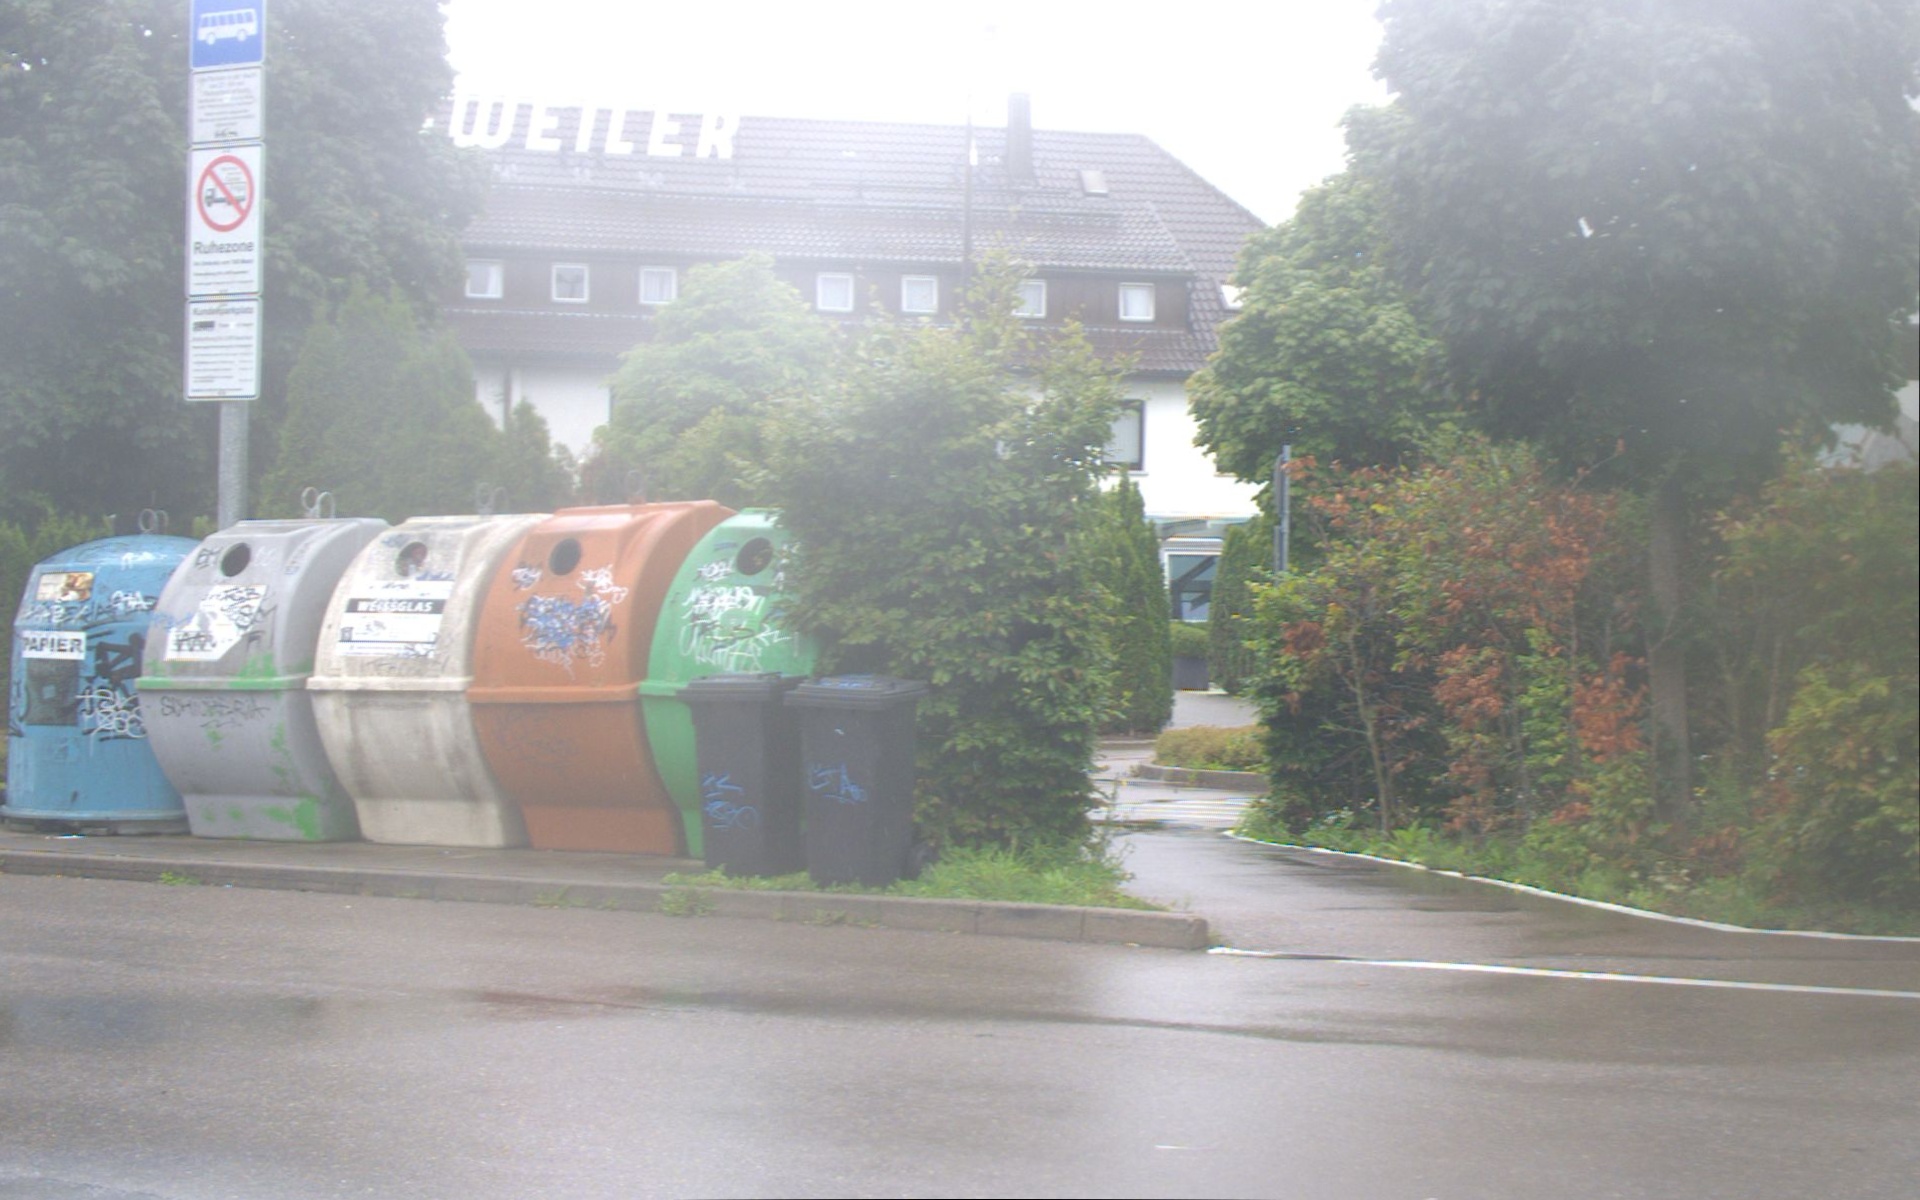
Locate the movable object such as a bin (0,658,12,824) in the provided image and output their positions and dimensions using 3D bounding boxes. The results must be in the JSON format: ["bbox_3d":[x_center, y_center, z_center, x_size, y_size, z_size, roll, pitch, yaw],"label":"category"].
[{"bbox_3d":[-5.600,0.786,19.217,0.448,0.914,0.489,0,0,-34],"label":"movable object such as a bin"}]

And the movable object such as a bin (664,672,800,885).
[{"bbox_3d":[-1.019,0.787,15.341,0.493,0.917,0.416,0,0,-23],"label":"movable object such as a bin"}]

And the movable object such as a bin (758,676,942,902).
[{"bbox_3d":[-0.473,0.796,14.675,0.628,0.917,0.557,0,0,-23],"label":"movable object such as a bin"}]
